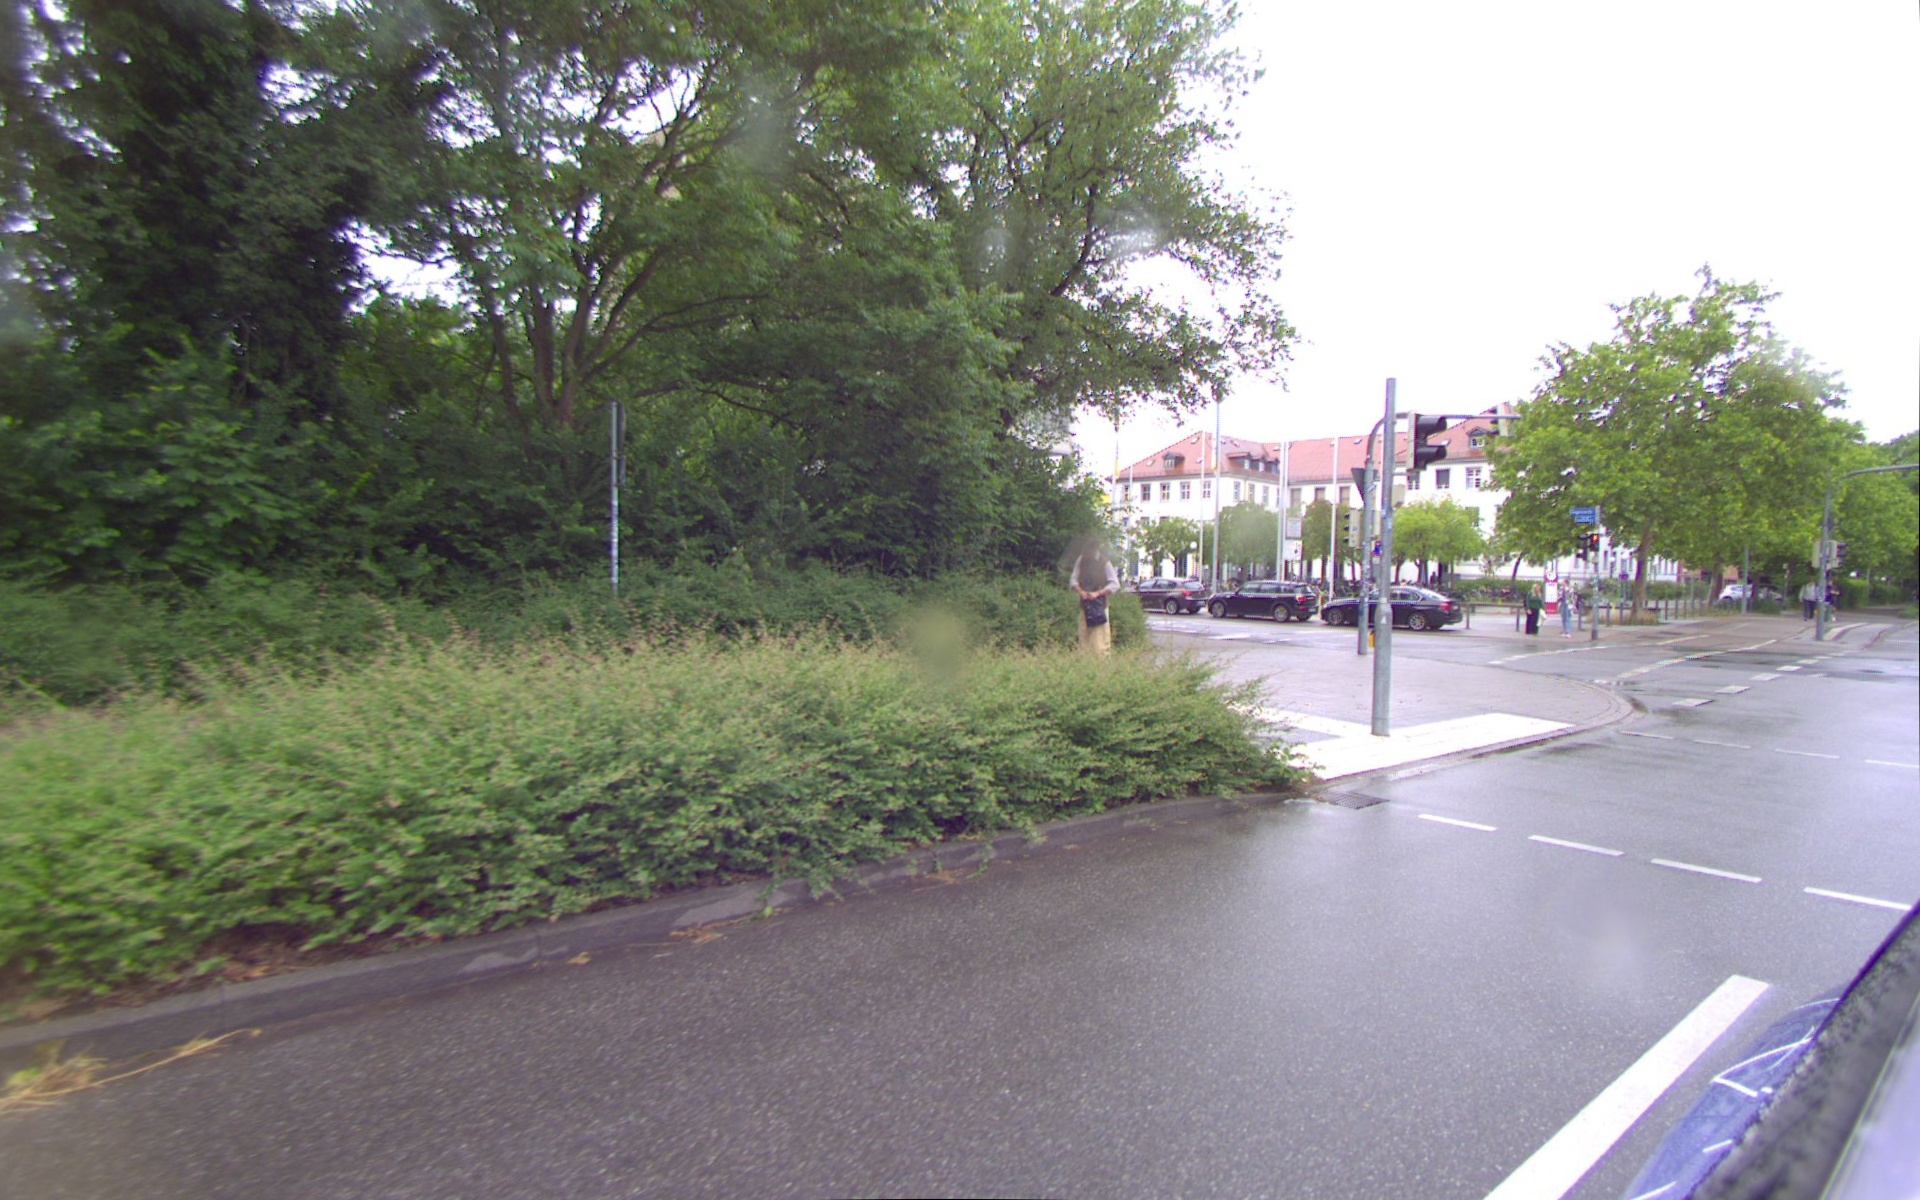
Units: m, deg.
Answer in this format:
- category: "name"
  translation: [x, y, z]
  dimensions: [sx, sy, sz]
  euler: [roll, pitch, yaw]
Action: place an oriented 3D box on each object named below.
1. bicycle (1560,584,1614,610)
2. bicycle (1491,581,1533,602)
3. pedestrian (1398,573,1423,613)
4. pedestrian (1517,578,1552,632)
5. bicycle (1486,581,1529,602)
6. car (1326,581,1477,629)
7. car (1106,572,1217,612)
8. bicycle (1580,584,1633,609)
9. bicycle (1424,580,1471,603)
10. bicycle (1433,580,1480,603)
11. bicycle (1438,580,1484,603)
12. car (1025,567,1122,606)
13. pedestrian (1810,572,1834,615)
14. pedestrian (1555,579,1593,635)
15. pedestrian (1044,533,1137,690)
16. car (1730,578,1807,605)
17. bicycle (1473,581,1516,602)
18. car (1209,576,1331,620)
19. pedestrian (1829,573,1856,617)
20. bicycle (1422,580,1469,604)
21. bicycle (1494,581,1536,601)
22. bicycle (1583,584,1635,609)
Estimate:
- category: "bicycle"
  translation: [31.782, -0.178, 51.336]
  dimensions: [2.273, 1.237, 0.591]
  euler: [3, 2, 37]
- category: "bicycle"
  translation: [35.407, -0.566, 64.972]
  dimensions: [2.273, 1.237, 0.591]
  euler: [3, 2, 37]
- category: "pedestrian"
  translation: [20.231, -0.316, 45.480]
  dimensions: [0.838, 1.759, 1.118]
  euler: [2, 1, 17]
- category: "pedestrian"
  translation: [17.837, 0.140, 31.439]
  dimensions: [0.871, 1.627, 0.854]
  euler: [2, 2, 32]
- category: "bicycle"
  translation: [34.736, -0.558, 64.235]
  dimensions: [2.273, 1.237, 0.591]
  euler: [3, 2, 37]
- category: "car"
  translation: [14.857, 0.122, 34.218]
  dimensions: [1.745, 1.353, 4.380]
  euler: [-4, 5, -44]
- category: "car"
  translation: [8.151, -0.363, 41.164]
  dimensions: [1.745, 1.415, 4.227]
  euler: [-4, 5, -44]
- category: "bicycle"
  translation: [34.161, -0.192, 53.500]
  dimensions: [2.273, 1.237, 0.591]
  euler: [3, 2, 37]
- category: "bicycle"
  translation: [27.364, -0.490, 56.784]
  dimensions: [2.273, 1.237, 0.591]
  euler: [3, 2, 37]
- category: "bicycle"
  translation: [28.102, -0.489, 57.316]
  dimensions: [2.273, 1.237, 0.591]
  euler: [3, 2, 37]
- category: "bicycle"
  translation: [28.657, -0.495, 57.885]
  dimensions: [2.273, 1.237, 0.591]
  euler: [3, 2, 37]
- category: "car"
  translation: [4.977, -0.633, 44.625]
  dimensions: [4.088, 1.536, 1.746]
  euler: [3, 5, 44]
- category: "pedestrian"
  translation: [37.368, -0.282, 43.877]
  dimensions: [0.621, 1.847, 0.777]
  euler: [2, 2, 35]
- category: "pedestrian"
  translation: [18.638, 0.193, 30.750]
  dimensions: [0.869, 1.627, 0.855]
  euler: [2, 2, 27]
- category: "pedestrian"
  translation: [1.627, 0.125, 12.653]
  dimensions: [0.834, 1.882, 0.732]
  euler: [0, 2, -34]
- category: "car"
  translation: [61.193, -0.653, 76.653]
  dimensions: [4.410, 1.895, 1.614]
  euler: [3, 2, 42]
- category: "bicycle"
  translation: [33.391, -0.559, 63.252]
  dimensions: [2.273, 1.237, 0.591]
  euler: [3, 2, 37]
- category: "car"
  translation: [11.438, -0.111, 37.530]
  dimensions: [1.744, 1.394, 4.010]
  euler: [-4, 5, -42]
- category: "pedestrian"
  translation: [37.993, -0.238, 43.581]
  dimensions: [0.619, 1.847, 0.779]
  euler: [2, 2, 27]
- category: "bicycle"
  translation: [26.822, -0.474, 55.921]
  dimensions: [2.273, 1.237, 0.591]
  euler: [3, 2, 37]
- category: "bicycle"
  translation: [36.082, -0.578, 65.799]
  dimensions: [2.273, 1.237, 0.591]
  euler: [3, 2, 37]
- category: "bicycle"
  translation: [35.086, -0.211, 54.733]
  dimensions: [2.273, 1.237, 0.591]
  euler: [3, 2, 37]
